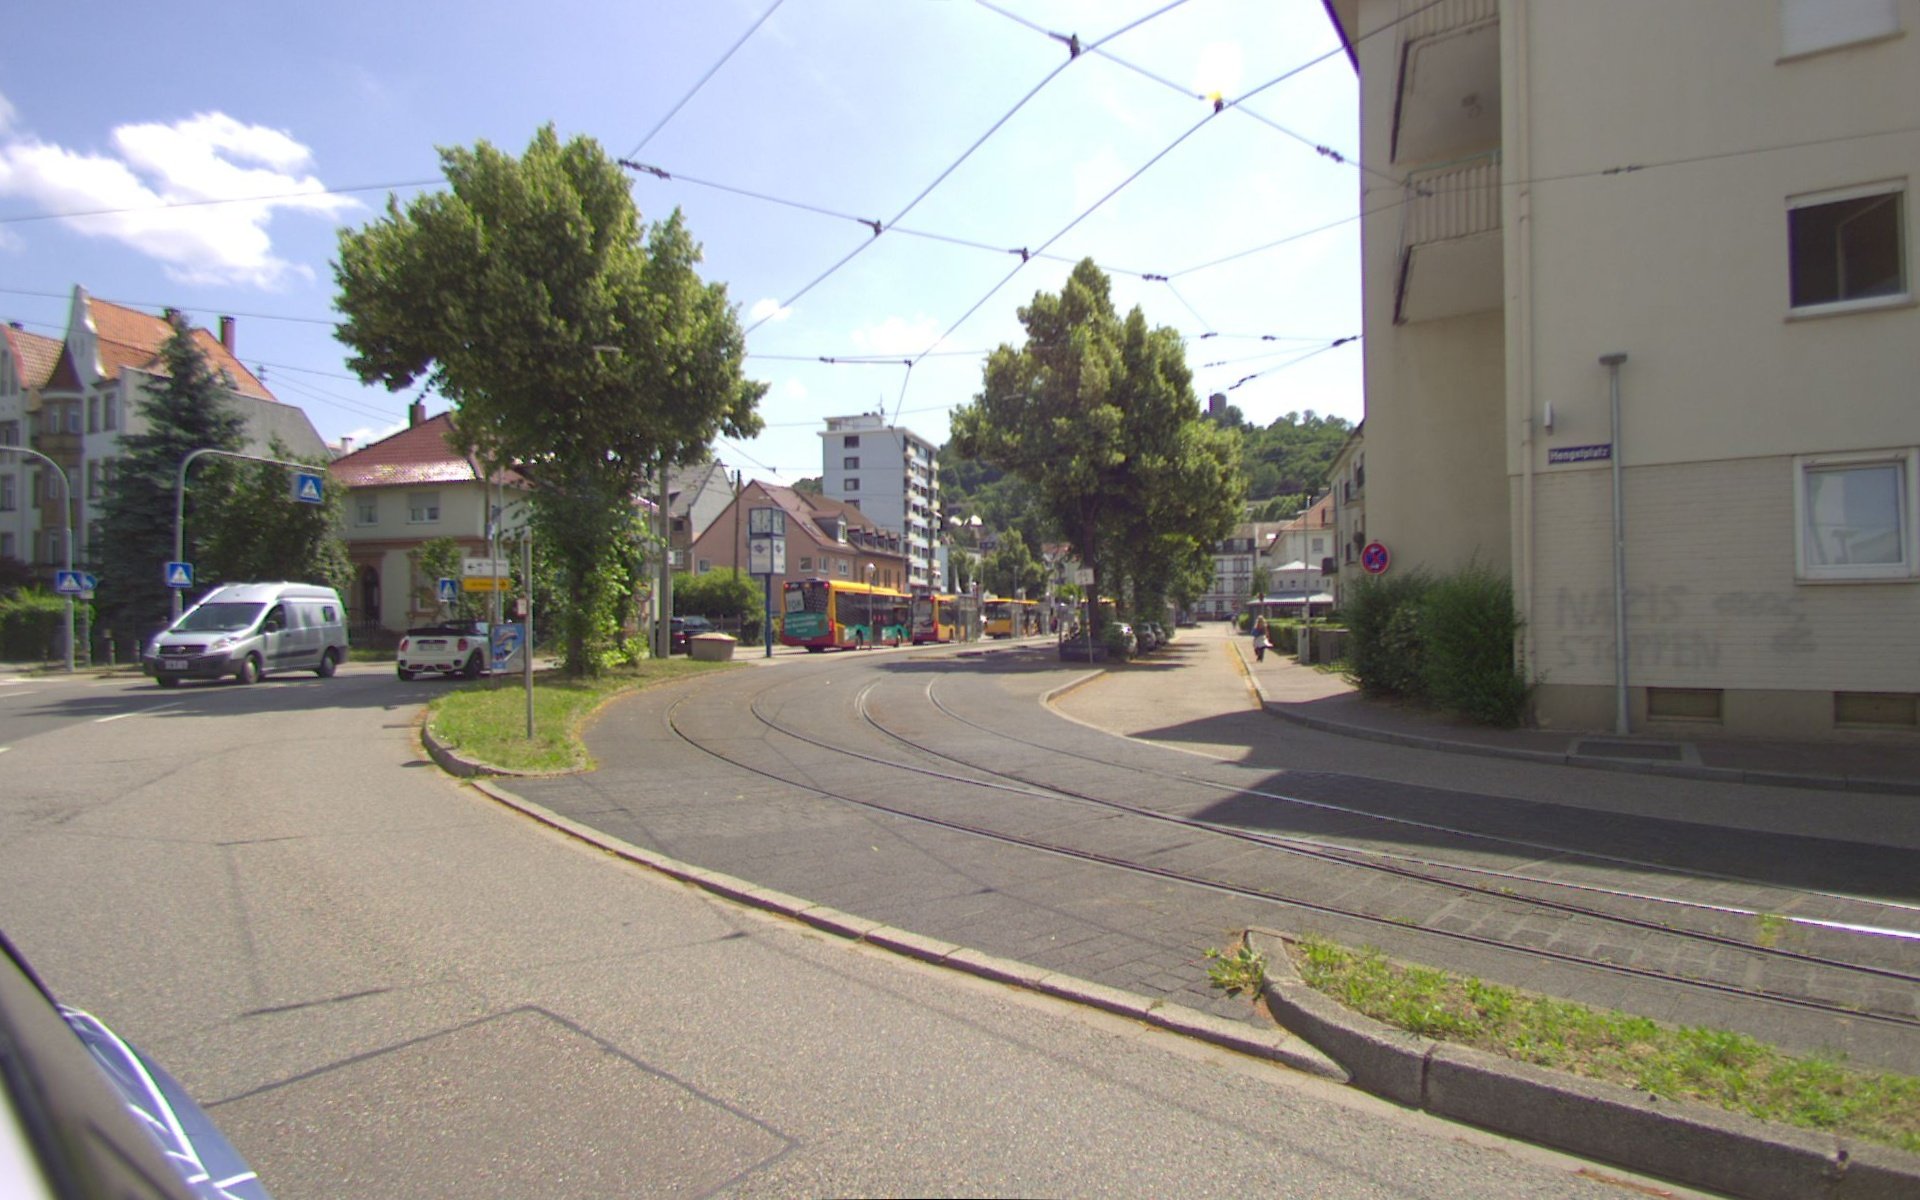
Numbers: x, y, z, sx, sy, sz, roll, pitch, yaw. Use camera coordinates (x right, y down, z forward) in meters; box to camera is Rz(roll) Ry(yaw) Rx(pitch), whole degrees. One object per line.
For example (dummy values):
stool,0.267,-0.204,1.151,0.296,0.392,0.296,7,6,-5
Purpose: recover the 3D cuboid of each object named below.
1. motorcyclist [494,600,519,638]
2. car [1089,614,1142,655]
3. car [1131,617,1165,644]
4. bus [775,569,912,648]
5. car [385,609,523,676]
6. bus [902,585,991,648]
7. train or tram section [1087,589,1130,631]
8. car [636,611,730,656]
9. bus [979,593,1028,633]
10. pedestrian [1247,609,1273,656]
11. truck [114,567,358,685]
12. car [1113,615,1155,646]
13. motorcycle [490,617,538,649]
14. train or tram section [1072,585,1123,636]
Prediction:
motorcyclist,-15.346,0.645,34.243,0.538,1.252,0.550,-1,-1,25
car,6.204,1.340,40.116,1.826,1.493,3.940,-1,-1,13
car,11.095,1.771,59.630,1.826,1.493,3.857,-1,-1,13
bus,-5.295,0.482,48.728,2.684,3.322,10.803,-2,-2,15
car,-12.072,0.964,24.405,1.752,1.475,3.752,0,-1,-6
bus,-0.639,1.067,65.354,2.672,3.635,12.150,-1,-1,14
train or tram section,13.709,0.894,92.493,2.869,3.547,13.849,-2,-1,12
car,-10.876,1.306,40.079,1.843,1.644,4.312,-1,-2,12
bus,3.845,1.123,87.375,2.550,3.213,10.115,-1,-1,12
pedestrian,10.270,1.119,34.663,0.769,1.571,0.741,-2,-1,12
truck,-15.908,0.589,22.697,1.990,2.266,5.413,-2,-2,-5
car,8.778,1.506,50.803,1.826,1.493,4.241,-1,-1,13
motorcycle,-15.198,1.117,34.547,0.665,1.066,1.424,-1,-1,25
train or tram section,10.875,0.792,78.929,2.869,3.547,13.849,-2,-1,12
